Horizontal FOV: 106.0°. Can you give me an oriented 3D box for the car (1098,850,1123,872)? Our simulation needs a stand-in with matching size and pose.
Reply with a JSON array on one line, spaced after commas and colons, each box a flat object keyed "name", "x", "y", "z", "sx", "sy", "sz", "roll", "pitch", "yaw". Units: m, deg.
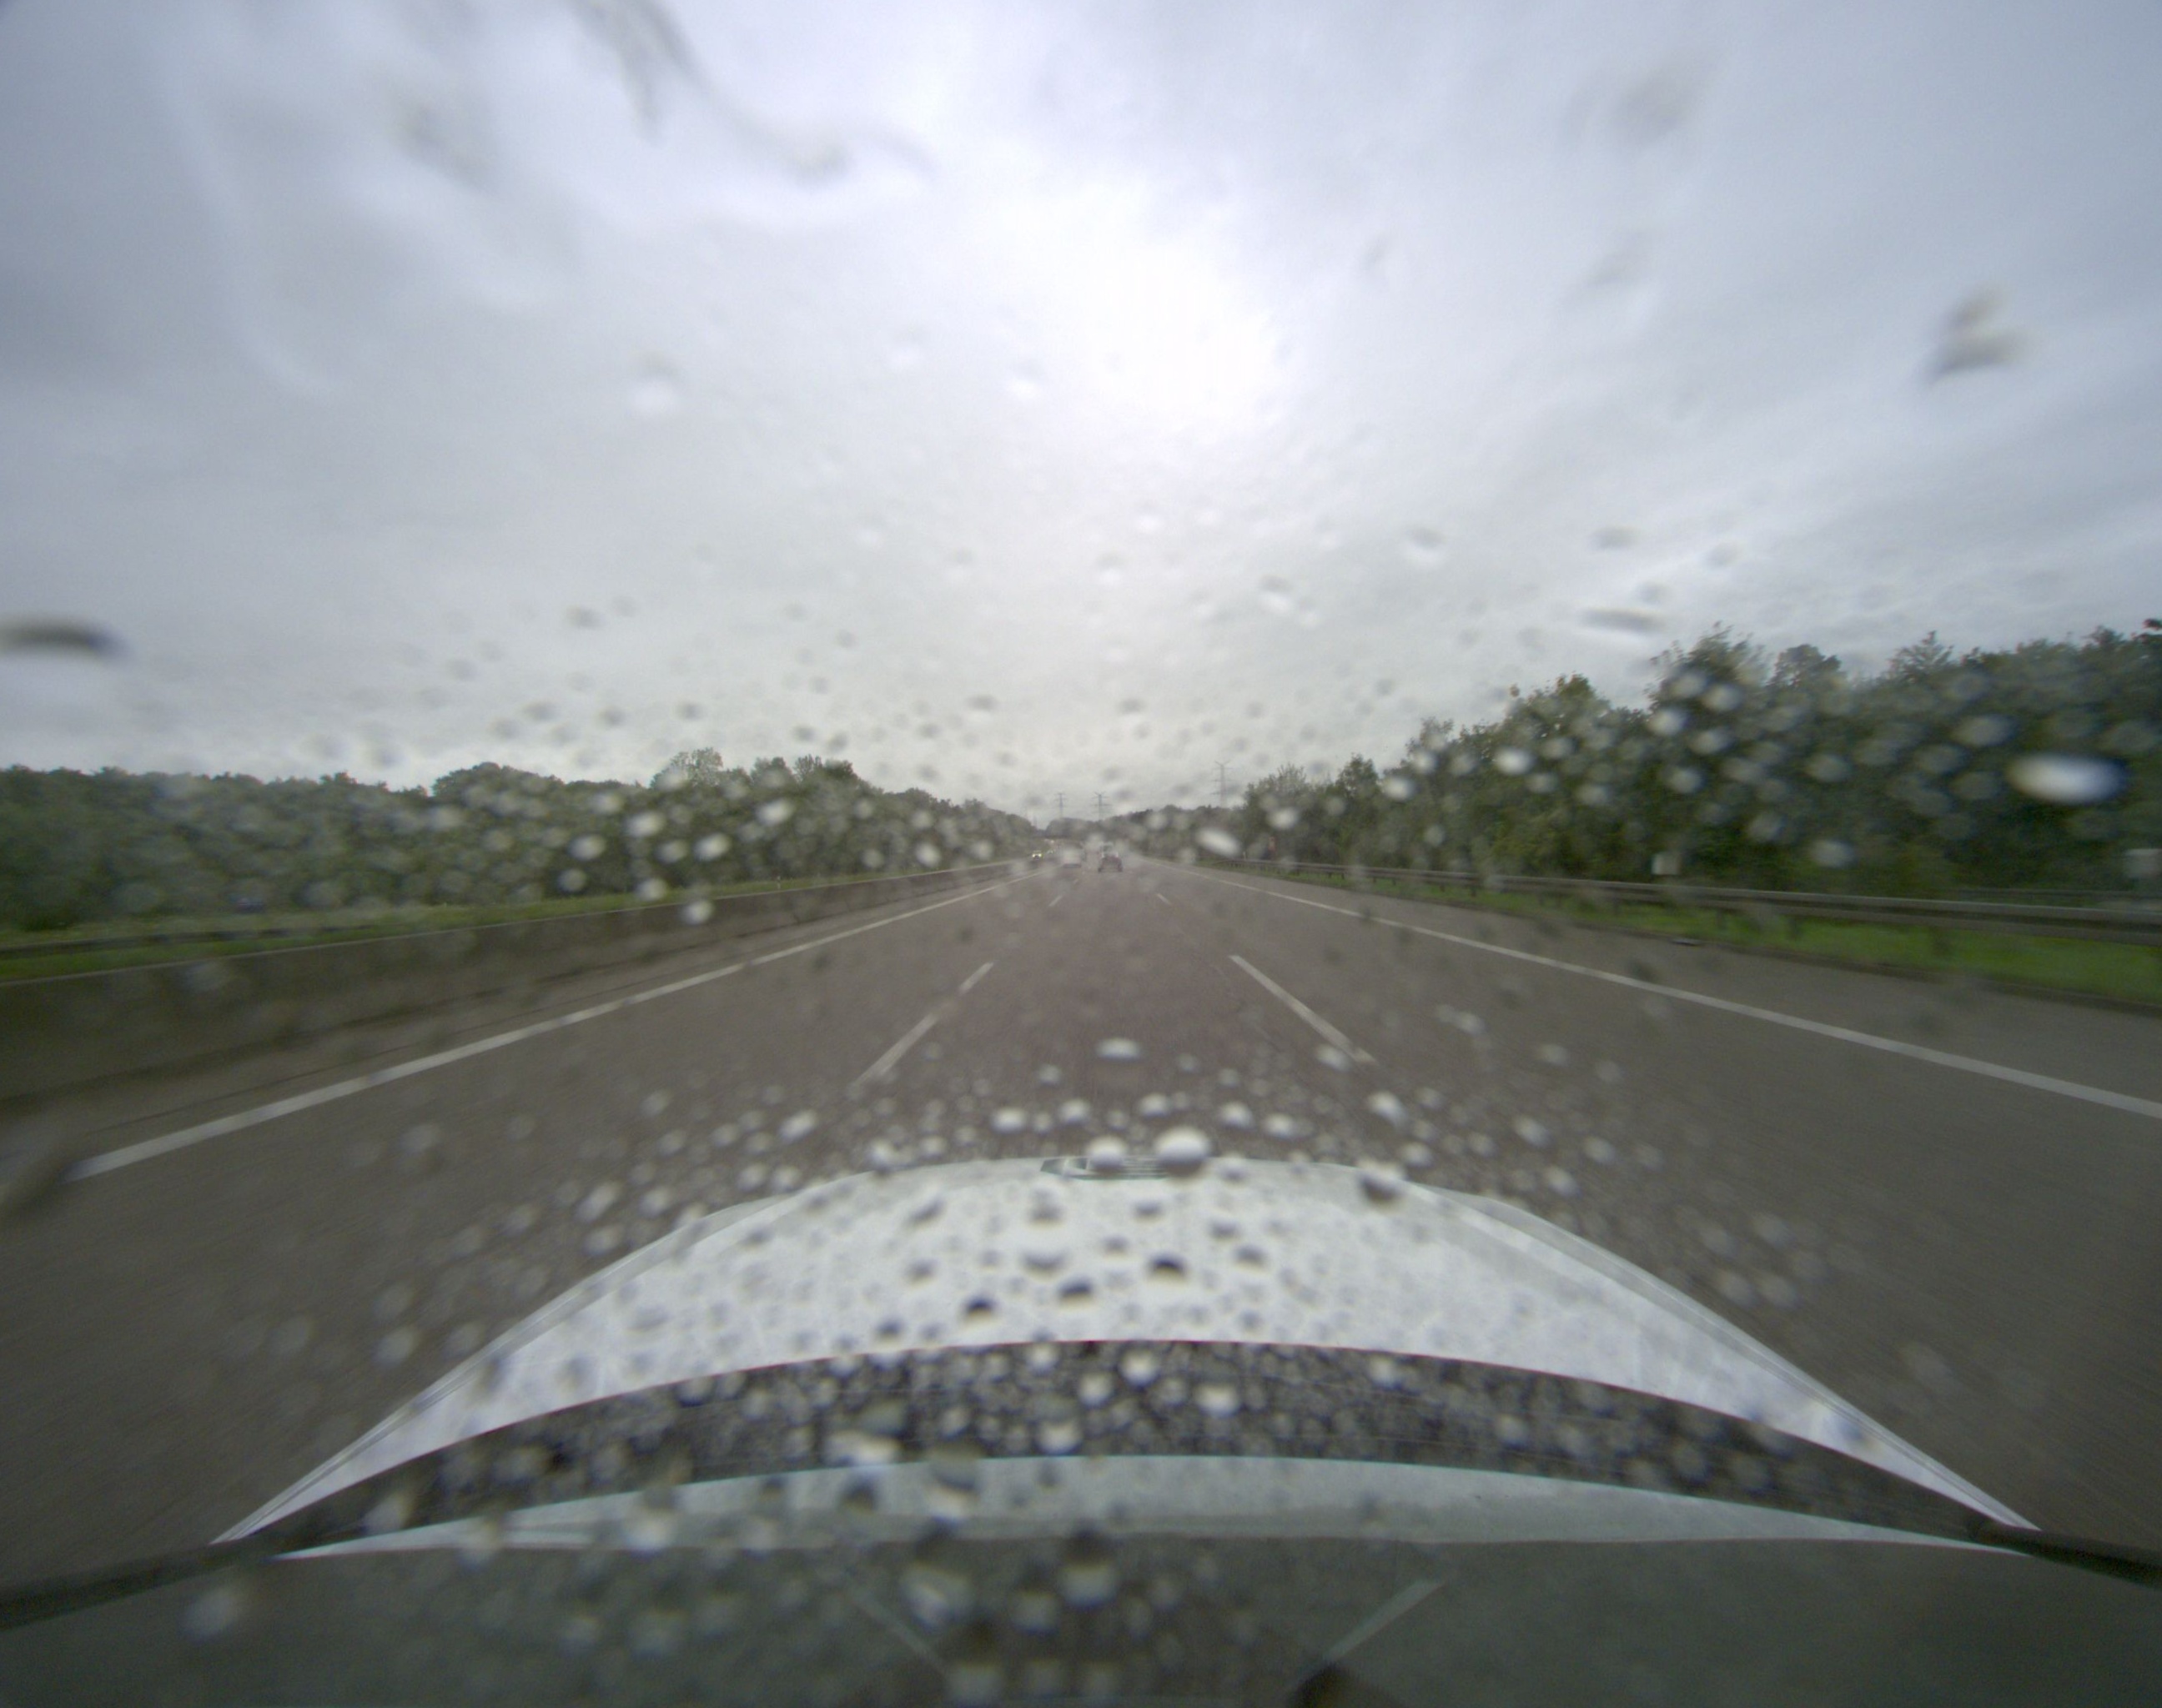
[{"name": "car", "x": 2.319, "y": 0.517, "z": 65.295, "sx": 1.854, "sy": 1.568, "sz": 4.965, "roll": -1, "pitch": 1, "yaw": 1}]

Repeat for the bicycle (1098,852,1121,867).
[{"name": "bicycle", "x": 2.203, "y": 0.441, "z": 62.355, "sx": 1.747, "sy": 1.090, "sz": 0.914, "roll": -1, "pitch": 0, "yaw": 1}]

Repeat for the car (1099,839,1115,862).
[{"name": "car", "x": 3.313, "y": -0.405, "z": 103.599, "sx": 1.986, "sy": 2.864, "sz": 4.001, "roll": 0, "pitch": -1, "yaw": 2}]

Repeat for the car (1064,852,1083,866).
[{"name": "car", "x": -0.781, "y": 0.492, "z": 83.447, "sx": 1.860, "sy": 1.288, "sz": 3.999, "roll": -1, "pitch": 0, "yaw": 0}]

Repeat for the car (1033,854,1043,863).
[{"name": "car", "x": -9.972, "y": 1.042, "z": 189.853, "sx": 1.987, "sy": 2.013, "sz": 5.759, "roll": -1, "pitch": 0, "yaw": 0}]

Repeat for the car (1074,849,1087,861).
[{"name": "car", "x": -0.016, "y": 0.167, "z": 121.180, "sx": 1.840, "sy": 1.772, "sz": 3.999, "roll": -1, "pitch": 0, "yaw": 0}]

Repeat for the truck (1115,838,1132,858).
[{"name": "truck", "x": 9.444, "y": -1.252, "z": 182.444, "sx": 3.590, "sy": 4.332, "sz": 13.205, "roll": -1, "pitch": 0, "yaw": 2}]
